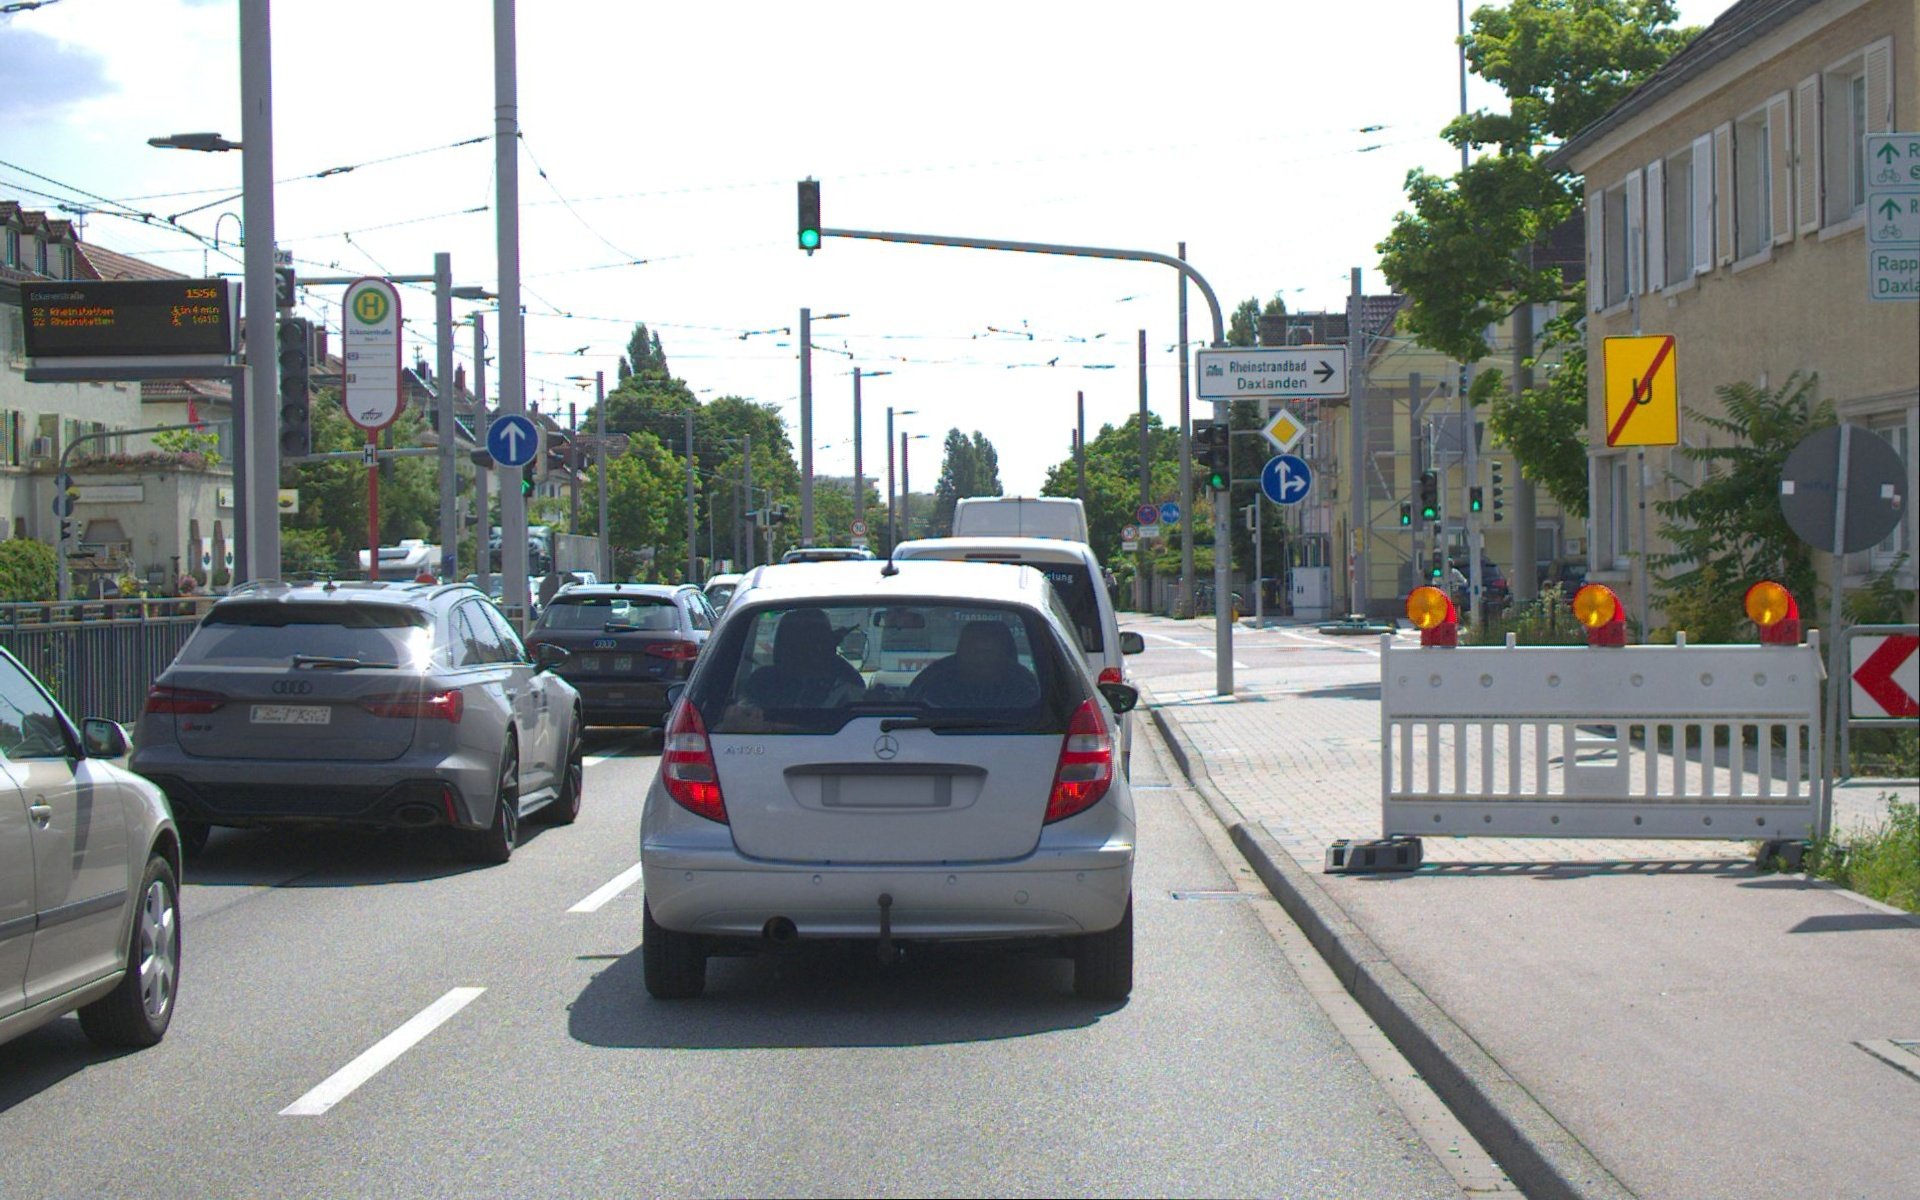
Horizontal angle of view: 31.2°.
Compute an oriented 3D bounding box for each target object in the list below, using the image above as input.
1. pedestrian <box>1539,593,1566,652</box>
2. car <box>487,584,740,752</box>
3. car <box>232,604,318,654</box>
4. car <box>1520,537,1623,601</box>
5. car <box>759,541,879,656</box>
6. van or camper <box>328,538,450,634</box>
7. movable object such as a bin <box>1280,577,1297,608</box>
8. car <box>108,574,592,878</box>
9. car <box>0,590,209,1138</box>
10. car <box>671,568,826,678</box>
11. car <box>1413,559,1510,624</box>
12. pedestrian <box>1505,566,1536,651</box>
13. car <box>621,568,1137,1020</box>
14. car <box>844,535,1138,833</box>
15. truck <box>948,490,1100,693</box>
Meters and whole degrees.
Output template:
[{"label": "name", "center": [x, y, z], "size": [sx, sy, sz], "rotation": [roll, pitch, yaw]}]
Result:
[{"label": "pedestrian", "center": [11.506, 0.432, 66.771], "size": [0.488, 1.132, 0.388], "rotation": [1, 0, 8]}, {"label": "car", "center": [-3.060, 0.574, 31.201], "size": [1.852, 1.384, 4.514], "rotation": [1, 0, 0]}, {"label": "car", "center": [-19.398, 0.807, 97.495], "size": [1.684, 1.347, 4.345], "rotation": [1, 0, -2]}, {"label": "car", "center": [15.700, -0.776, 88.471], "size": [1.993, 1.590, 4.131], "rotation": [1, 0, 2]}, {"label": "car", "center": [-2.333, -0.026, 57.834], "size": [1.852, 1.837, 3.918], "rotation": [1, 0, 0]}, {"label": "van or camper", "center": [-18.357, -0.473, 110.922], "size": [2.324, 2.920, 7.754], "rotation": [-2, 0, 2]}, {"label": "movable object such as a bin", "center": [10.040, -0.228, 105.104], "size": [0.468, 0.943, 0.558], "rotation": [-1, 0, 1]}, {"label": "car", "center": [-3.263, 0.617, 19.299], "size": [1.916, 1.472, 4.562], "rotation": [1, 0, 0]}, {"label": "car", "center": [-3.383, 0.683, 9.339], "size": [1.731, 1.444, 4.123], "rotation": [1, 0, 1]}, {"label": "car", "center": [-2.810, 0.302, 46.340], "size": [1.852, 1.384, 3.918], "rotation": [1, 0, 0]}, {"label": "car", "center": [12.863, -0.207, 88.370], "size": [1.993, 1.590, 4.131], "rotation": [1, 0, 2]}, {"label": "pedestrian", "center": [10.878, 0.163, 66.756], "size": [0.547, 1.638, 0.401], "rotation": [1, 0, 6]}, {"label": "car", "center": [-0.306, 0.662, 13.701], "size": [1.730, 1.512, 4.016], "rotation": [1, 0, -1]}, {"label": "car", "center": [0.152, 0.504, 22.561], "size": [1.730, 1.756, 4.016], "rotation": [1, 0, -1]}, {"label": "truck", "center": [0.799, -0.102, 46.350], "size": [1.852, 2.543, 5.855], "rotation": [1, 0, 0]}]
